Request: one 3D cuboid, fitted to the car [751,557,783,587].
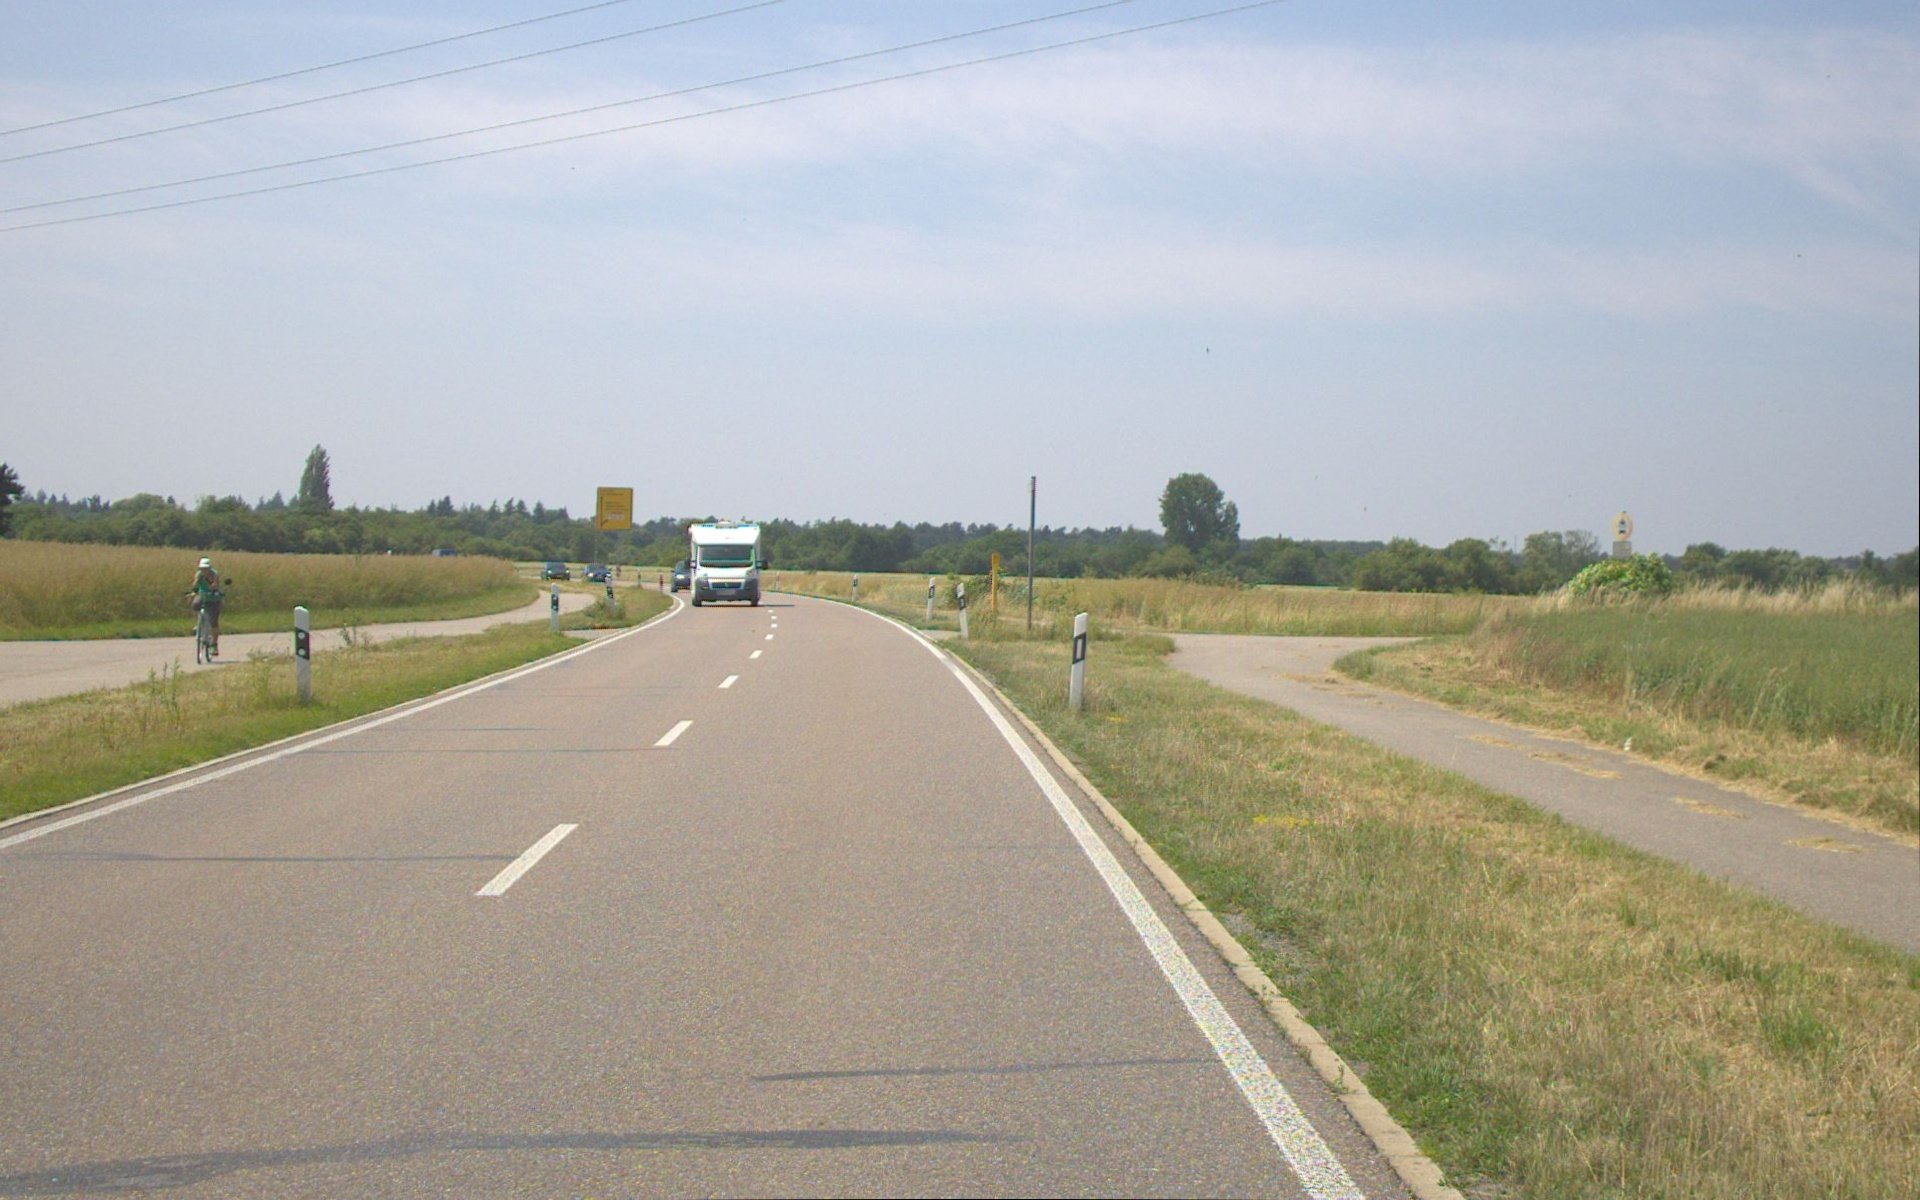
[{"bbox_3d":[-9.928,-1.457,177.021,1.623,1.486,4.000,1,0,-3],"label":"car"}]

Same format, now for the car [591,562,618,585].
[{"bbox_3d":[-24.854,-1.822,240.252,1.712,1.581,3.502,0,0,-3],"label":"car"}]

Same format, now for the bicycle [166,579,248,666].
[{"bbox_3d":[-11.122,0.324,50.824,0.762,1.224,2.216,1,1,-1],"label":"bicycle"}]

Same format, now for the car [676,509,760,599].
[{"bbox_3d":[-8.020,-1.542,114.489,2.397,2.837,7.629,1,1,-2],"label":"car"}]

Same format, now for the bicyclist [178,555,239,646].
[{"bbox_3d":[-11.116,-0.002,50.864,0.701,1.326,0.965,1,1,-1],"label":"bicyclist"}]
